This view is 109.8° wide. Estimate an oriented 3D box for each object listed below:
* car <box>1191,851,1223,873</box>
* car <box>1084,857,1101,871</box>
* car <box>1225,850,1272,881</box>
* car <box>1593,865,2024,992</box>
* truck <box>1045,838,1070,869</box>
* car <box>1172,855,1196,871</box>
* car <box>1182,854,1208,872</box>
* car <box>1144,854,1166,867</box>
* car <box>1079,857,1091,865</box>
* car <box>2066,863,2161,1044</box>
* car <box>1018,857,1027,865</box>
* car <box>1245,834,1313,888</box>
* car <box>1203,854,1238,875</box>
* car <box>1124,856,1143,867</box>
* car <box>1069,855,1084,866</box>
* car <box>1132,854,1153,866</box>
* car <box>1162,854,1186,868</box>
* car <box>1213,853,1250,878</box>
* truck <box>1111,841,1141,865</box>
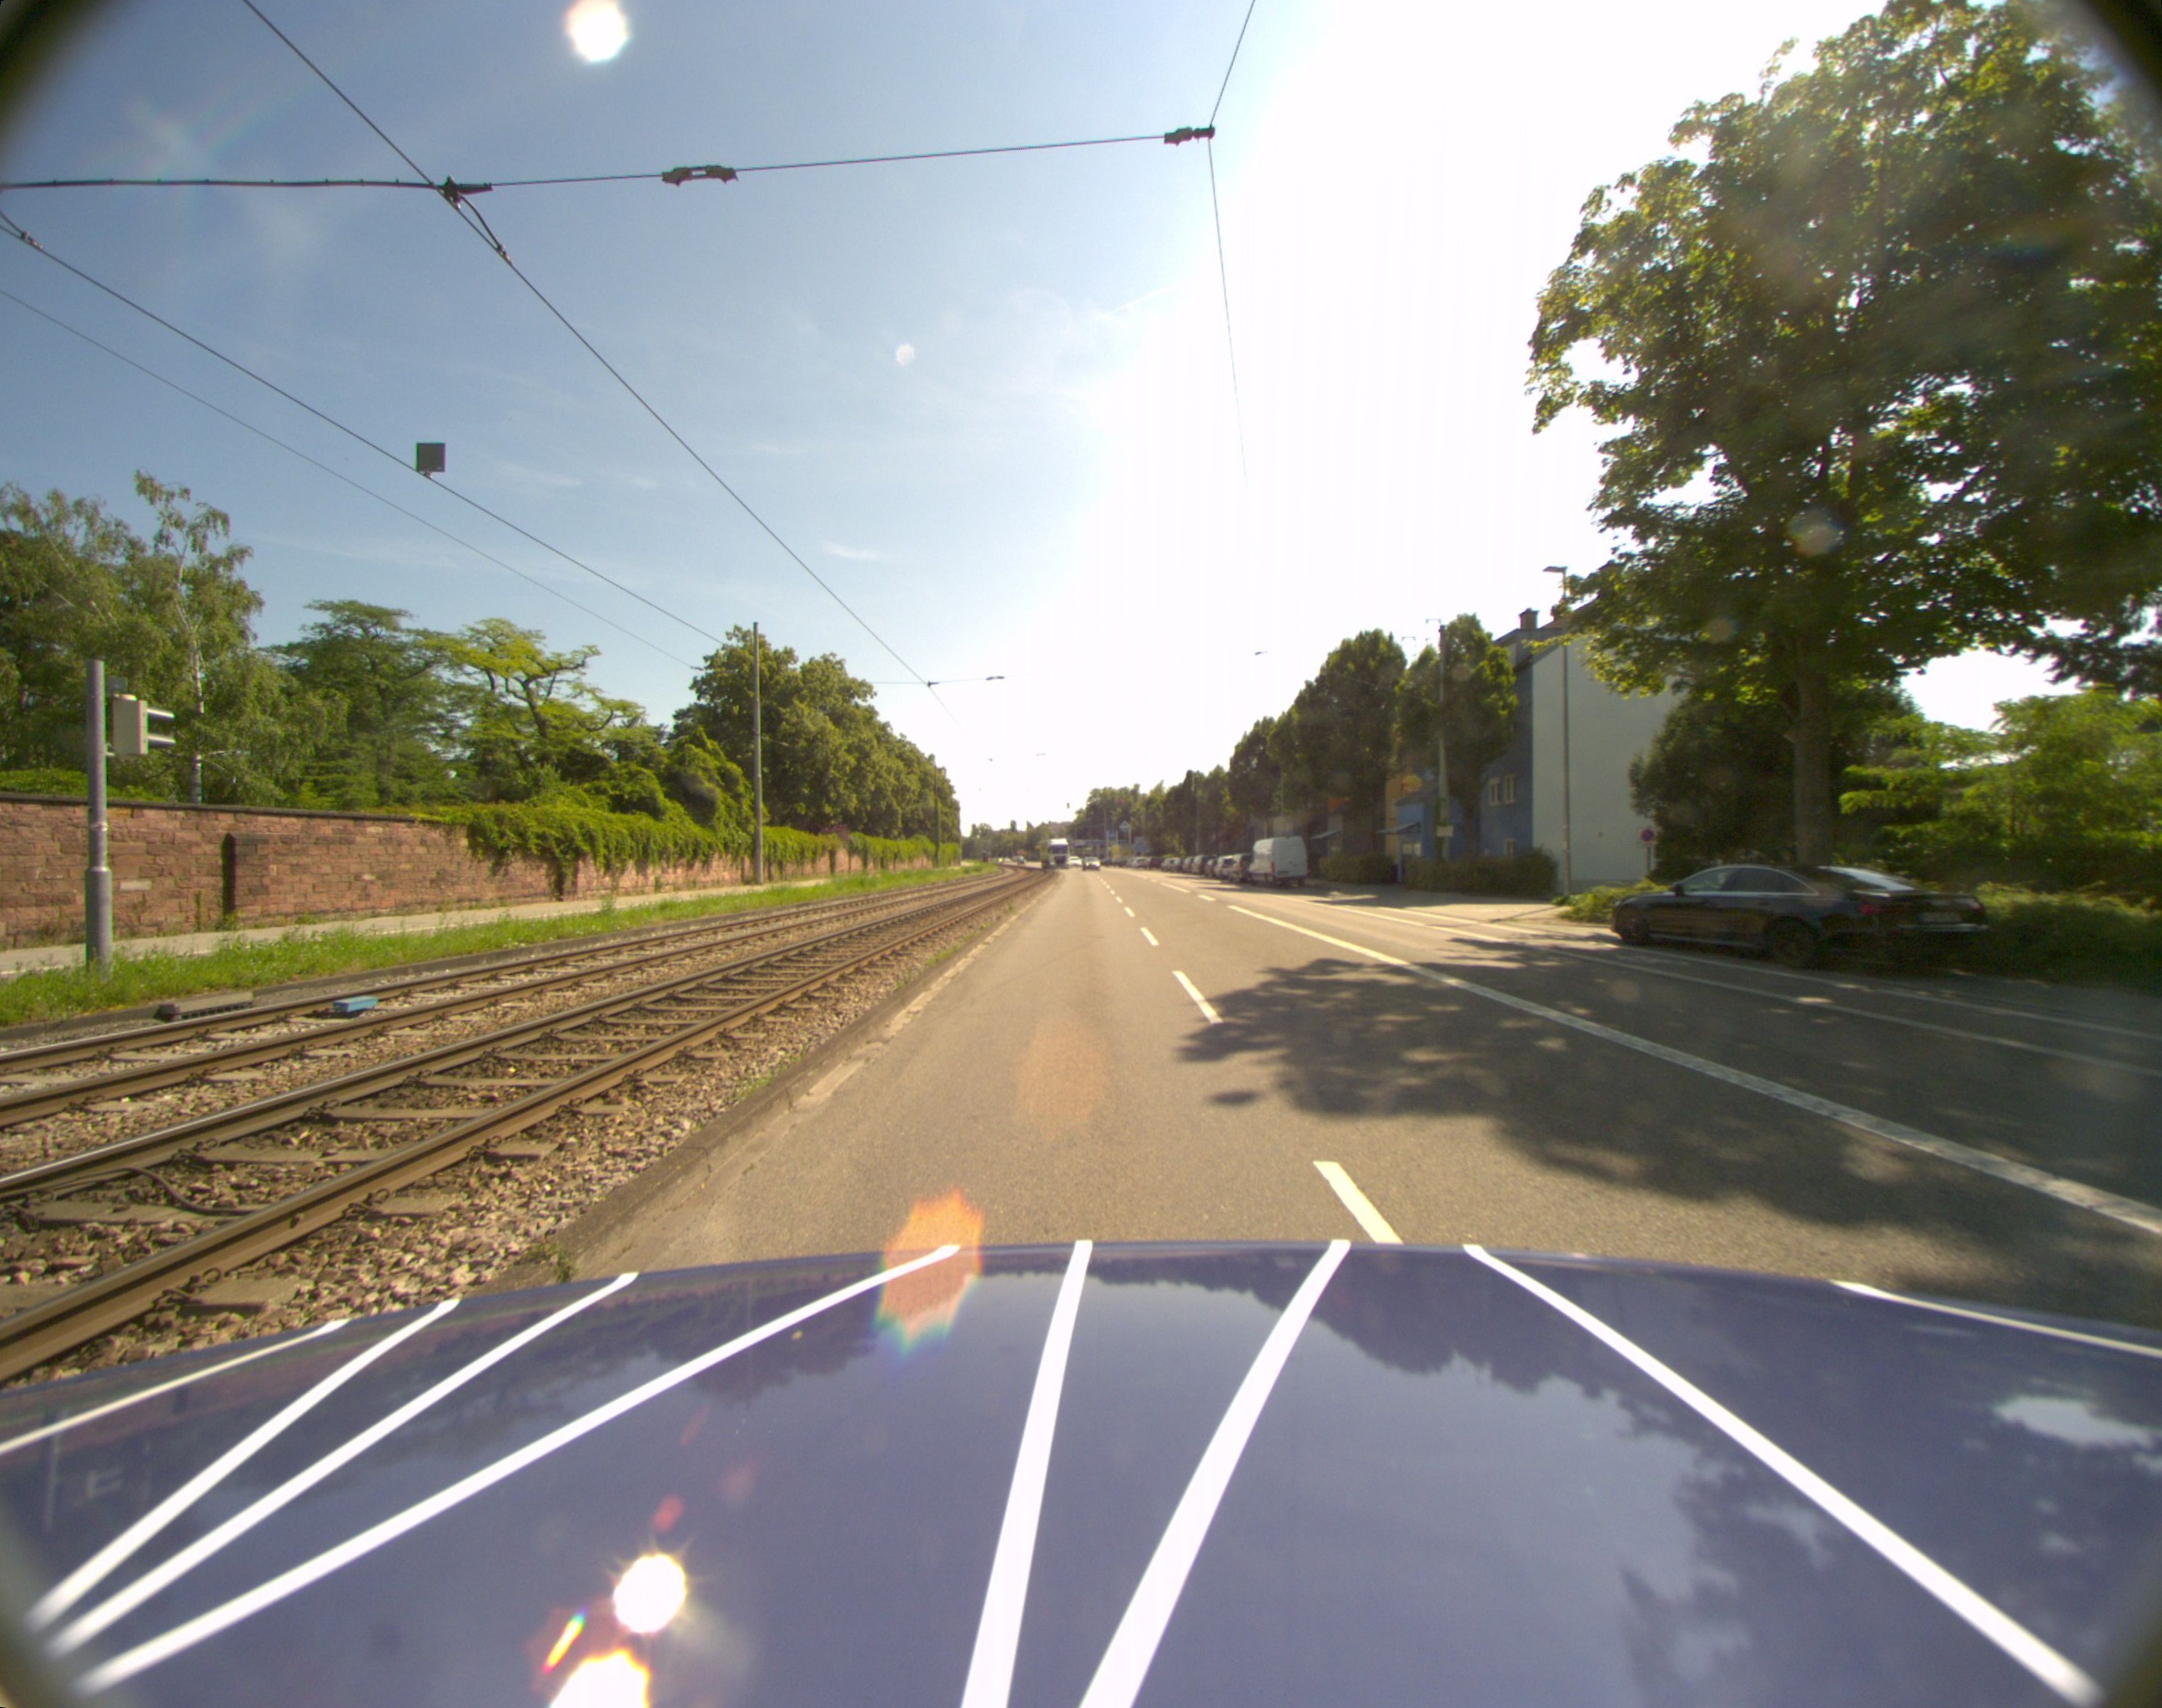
[{"bbox_3d":[11.049,0.664,66.863,1.834,1.718,4.348,-3,1,-3],"label":"car"},{"bbox_3d":[1.226,1.039,81.865,1.747,1.421,5.041,-1,0,1],"label":"car"},{"bbox_3d":[11.169,0.728,51.024,1.998,1.855,4.966,-4,0,1],"label":"car"},{"bbox_3d":[10.574,0.944,11.763,1.845,1.457,4.909,0,0,-3],"label":"car"},{"bbox_3d":[-3.306,-0.093,103.124,2.806,3.926,11.938,0,0,-4],"label":"truck"},{"bbox_3d":[10.590,0.908,78.393,1.681,1.462,4.212,-2,0,-3],"label":"car"},{"bbox_3d":[10.770,0.832,72.036,1.681,1.598,4.164,-2,0,-3],"label":"car"},{"bbox_3d":[9.363,0.815,96.500,1.911,1.567,4.929,-2,0,-6],"label":"car"},{"bbox_3d":[0.639,1.109,128.966,1.692,1.237,4.062,2,0,-6],"label":"car"},{"bbox_3d":[10.550,0.895,5.022,1.766,1.596,4.893,-1,0,0],"label":"car"},{"bbox_3d":[-12.589,1.459,163.113,1.855,1.707,3.997,-2,1,-6],"label":"car"},{"bbox_3d":[11.026,0.363,42.835,1.998,2.661,7.086,-4,0,2],"label":"car"},{"bbox_3d":[11.263,0.834,61.659,1.871,1.447,4.074,-4,1,-3],"label":"car"},{"bbox_3d":[7.473,1.116,108.739,1.915,1.469,4.213,-2,0,-6],"label":"car"},{"bbox_3d":[-0.666,0.960,109.599,1.785,1.538,4.392,-2,0,-4],"label":"car"},{"bbox_3d":[8.436,0.814,104.289,2.040,1.490,4.130,-2,0,-6],"label":"car"},{"bbox_3d":[10.372,0.764,85.154,1.682,1.437,4.835,-2,0,-6],"label":"car"},{"bbox_3d":[11.122,0.815,56.437,1.852,1.693,4.540,-4,1,1],"label":"car"},{"bbox_3d":[6.788,-0.202,116.442,3.165,3.533,8.780,0,0,-6],"label":"truck"}]
